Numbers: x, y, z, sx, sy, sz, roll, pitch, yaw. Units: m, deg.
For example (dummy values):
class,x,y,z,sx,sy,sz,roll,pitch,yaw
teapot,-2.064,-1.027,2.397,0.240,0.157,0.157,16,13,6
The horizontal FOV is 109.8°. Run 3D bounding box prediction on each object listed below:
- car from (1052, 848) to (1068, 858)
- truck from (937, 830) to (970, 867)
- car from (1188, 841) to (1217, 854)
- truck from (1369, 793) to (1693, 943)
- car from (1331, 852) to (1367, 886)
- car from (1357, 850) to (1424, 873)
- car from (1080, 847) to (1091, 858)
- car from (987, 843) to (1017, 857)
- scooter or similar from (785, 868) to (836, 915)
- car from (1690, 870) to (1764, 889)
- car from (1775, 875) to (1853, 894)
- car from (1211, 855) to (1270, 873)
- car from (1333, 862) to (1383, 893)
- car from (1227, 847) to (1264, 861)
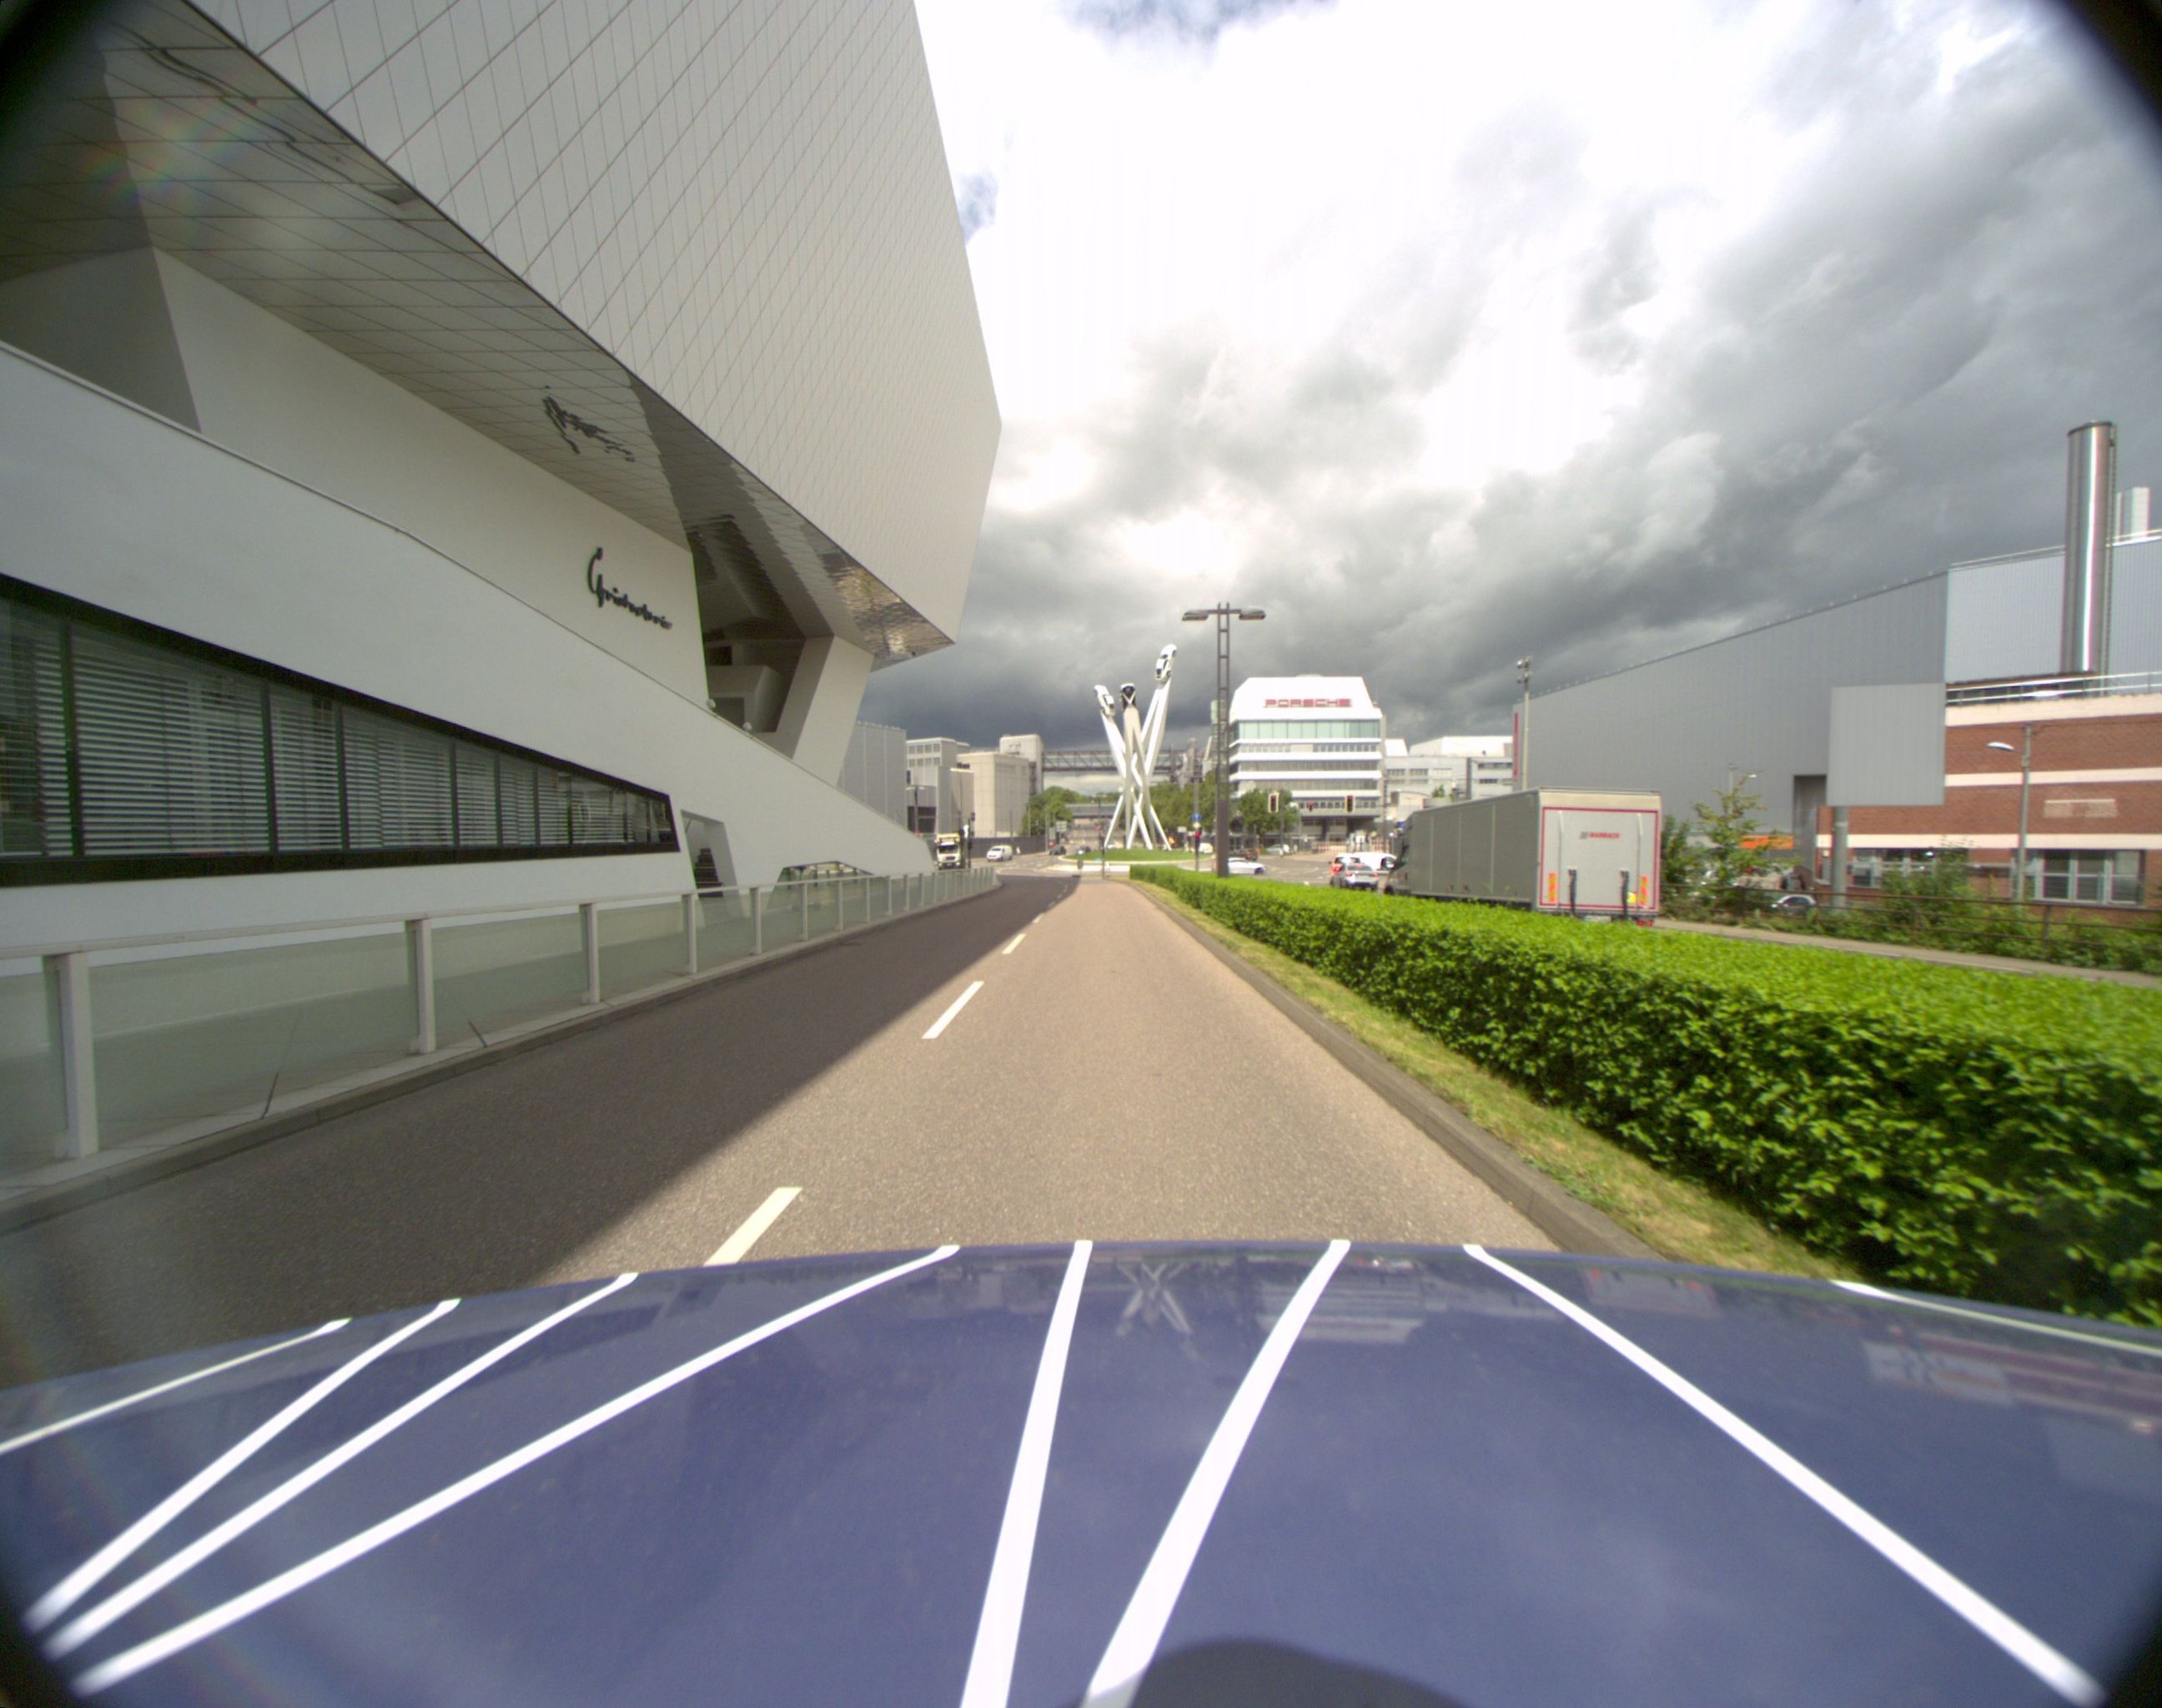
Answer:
class,x,y,z,sx,sy,sz,roll,pitch,yaw
car,-3.357,-0.239,122.601,1.830,1.555,4.003,0,1,10
truck,-13.472,-0.561,80.955,2.845,3.669,10.745,0,1,-7
car,18.077,-0.992,113.268,2.003,1.819,4.390,-1,1,-31
truck,10.347,0.387,19.184,2.862,2.840,9.380,0,-1,2
car,16.589,0.858,47.233,1.996,1.946,4.634,0,1,18
car,25.673,0.626,63.185,4.860,1.812,2.001,0,1,9
car,0.736,-0.186,114.614,1.586,1.630,3.803,0,0,1
car,-10.553,-0.538,101.837,2.160,1.899,5.311,0,1,17
scooter or similar,-7.746,1.057,21.843,0.708,1.236,1.952,-1,1,0
car,44.390,1.755,52.247,3.614,1.235,1.469,0,1,9
car,49.488,2.042,51.364,3.614,1.235,1.469,0,1,9
car,13.493,0.874,64.517,4.778,1.477,2.051,0,1,7
car,14.677,1.207,40.441,1.799,1.414,4.496,1,1,11
car,20.763,0.022,96.262,4.184,1.686,1.958,0,1,44
